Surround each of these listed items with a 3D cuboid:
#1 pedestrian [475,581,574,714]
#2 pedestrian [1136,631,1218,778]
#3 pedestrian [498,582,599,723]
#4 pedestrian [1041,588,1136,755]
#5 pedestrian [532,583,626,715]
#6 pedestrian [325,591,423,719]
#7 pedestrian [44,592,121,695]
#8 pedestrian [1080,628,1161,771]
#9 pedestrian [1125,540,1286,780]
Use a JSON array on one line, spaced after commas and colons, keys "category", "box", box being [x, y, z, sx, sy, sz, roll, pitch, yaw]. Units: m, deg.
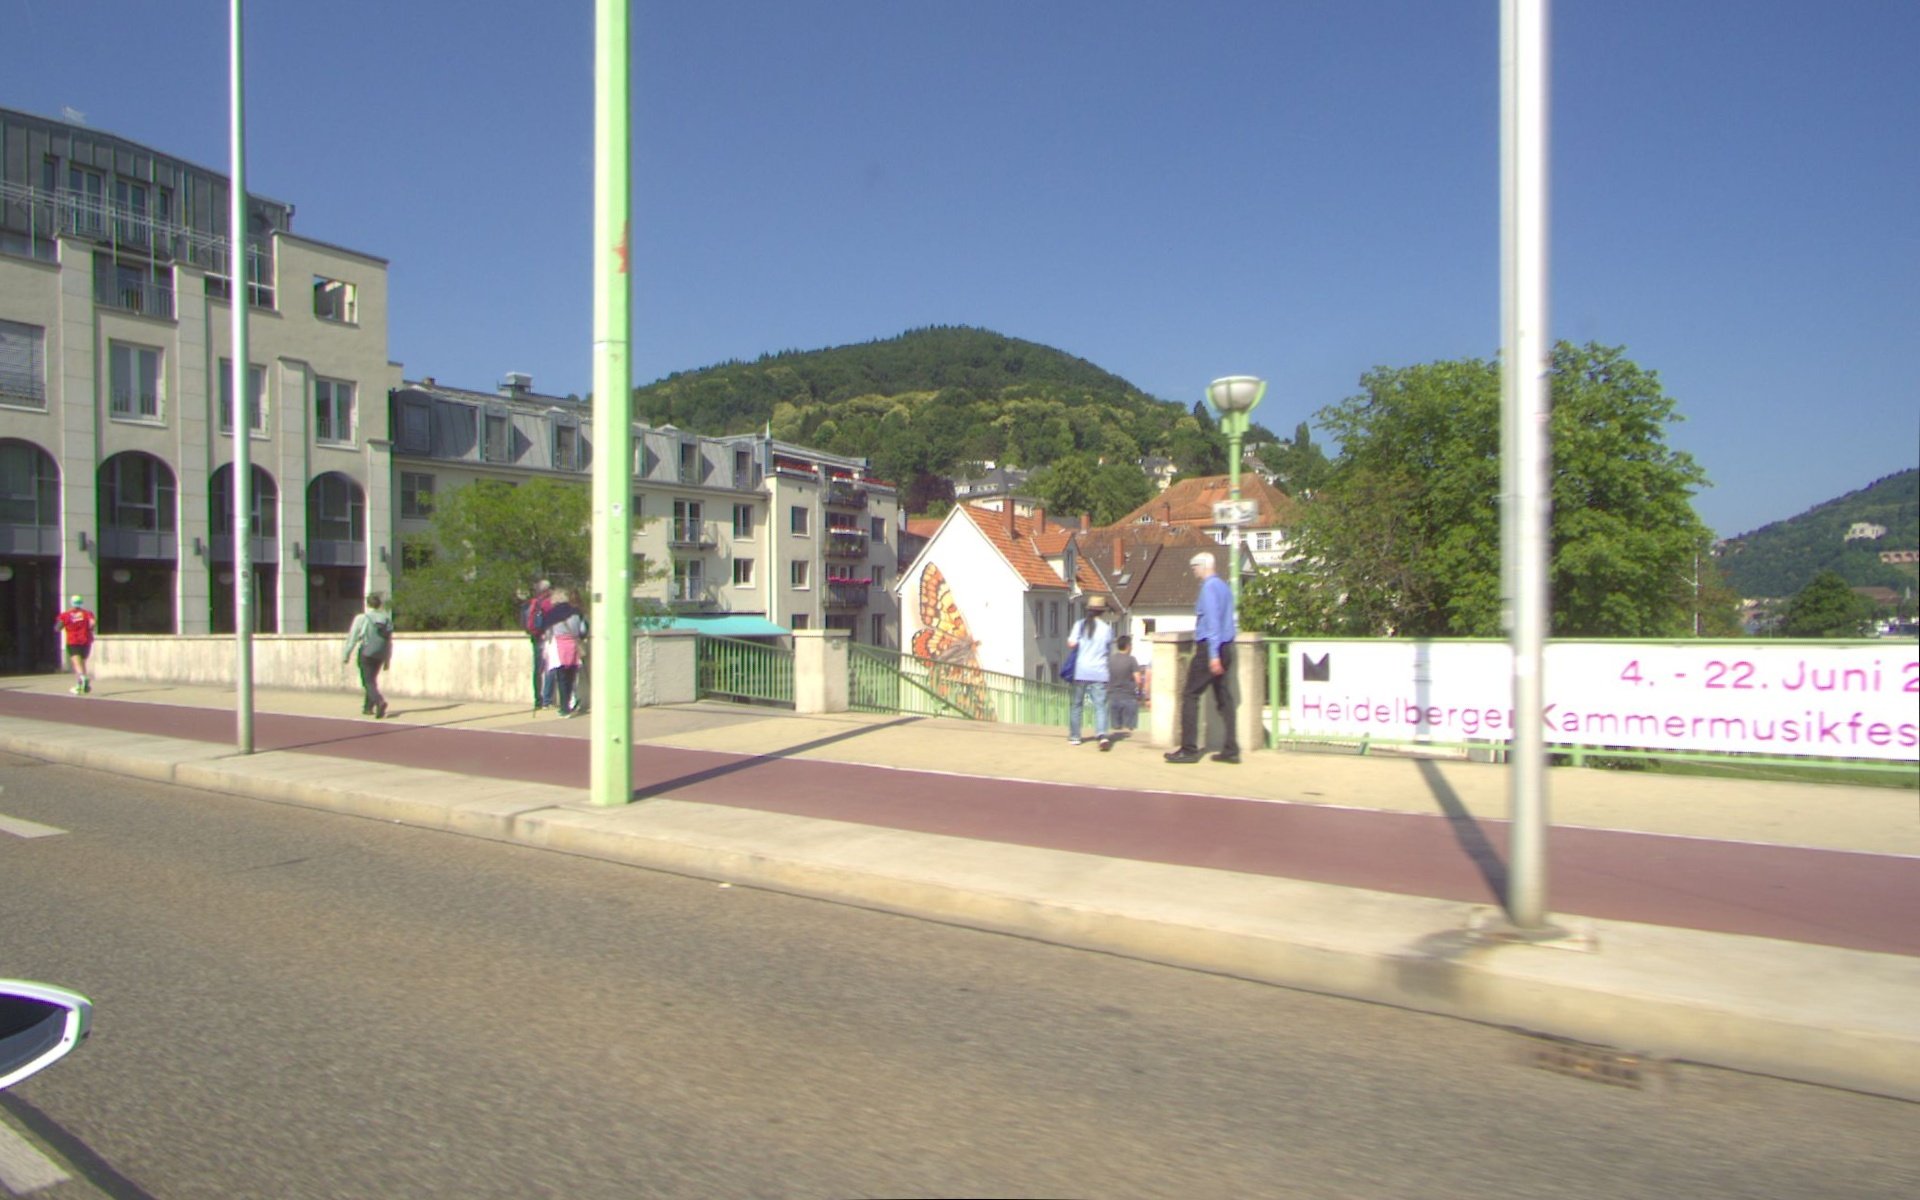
[{"category": "pedestrian", "box": [-6.226, 0.654, 14.341, 0.730, 1.826, 1.010, -1, 1, 30]}, {"category": "pedestrian", "box": [2.750, 1.275, 12.644, 0.730, 1.741, 1.011, 0, 0, 30]}, {"category": "pedestrian", "box": [-5.471, 0.669, 13.324, 1.000, 1.801, 0.738, -1, 1, 30]}, {"category": "pedestrian", "box": [1.240, 0.674, 9.849, 0.816, 1.550, 0.933, -1, 1, 2]}, {"category": "pedestrian", "box": [-5.340, 0.664, 14.045, 1.001, 1.770, 0.737, -1, 1, 31]}, {"category": "pedestrian", "box": [-8.274, 0.751, 14.147, 1.058, 1.741, 0.753, -1, 1, 32]}, {"category": "pedestrian", "box": [-17.142, 0.838, 19.572, 1.111, 1.950, 0.809, -1, 1, 32]}, {"category": "pedestrian", "box": [2.098, 1.252, 13.027, 0.730, 1.741, 1.011, -1, 1, 28]}, {"category": "pedestrian", "box": [2.147, 0.490, 8.715, 1.121, 1.923, 0.924, -1, 0, 32]}]
